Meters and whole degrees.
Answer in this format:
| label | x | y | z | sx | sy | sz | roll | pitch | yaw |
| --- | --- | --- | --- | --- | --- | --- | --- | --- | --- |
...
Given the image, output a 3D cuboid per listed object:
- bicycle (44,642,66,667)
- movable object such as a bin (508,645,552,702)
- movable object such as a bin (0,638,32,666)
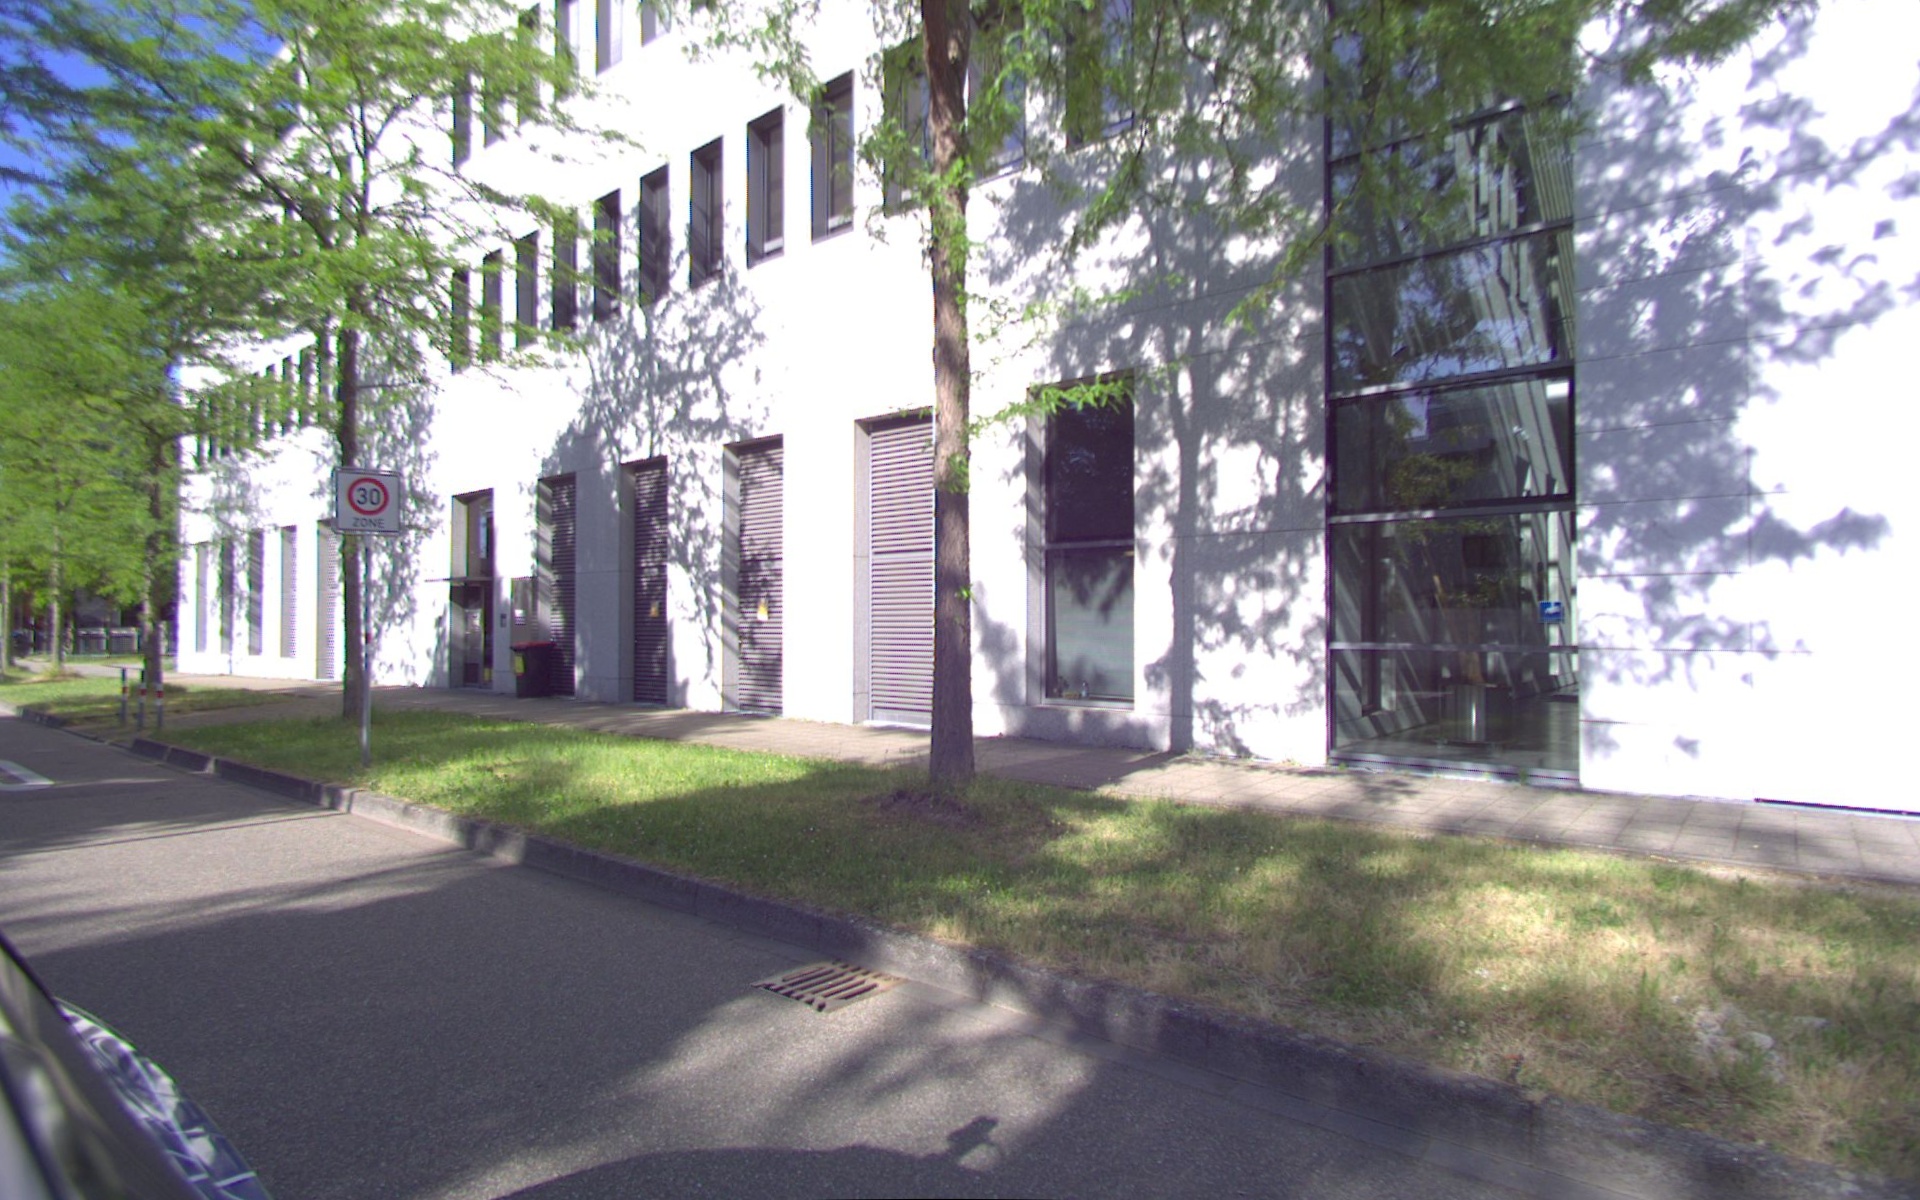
| label | x | y | z | sx | sy | sz | roll | pitch | yaw |
| --- | --- | --- | --- | --- | --- | --- | --- | --- | --- |
| bicycle | -45.338 | 2.731 | 50.686 | 1.727 | 1.201 | 0.594 | -2 | -1 | 41 |
| movable object such as a bin | -8.164 | 1.387 | 19.222 | 0.543 | 1.048 | 0.587 | -2 | -1 | 38 |
| movable object such as a bin | -55.504 | 3.046 | 59.364 | 1.347 | 1.580 | 1.502 | -2 | -1 | 45 |
